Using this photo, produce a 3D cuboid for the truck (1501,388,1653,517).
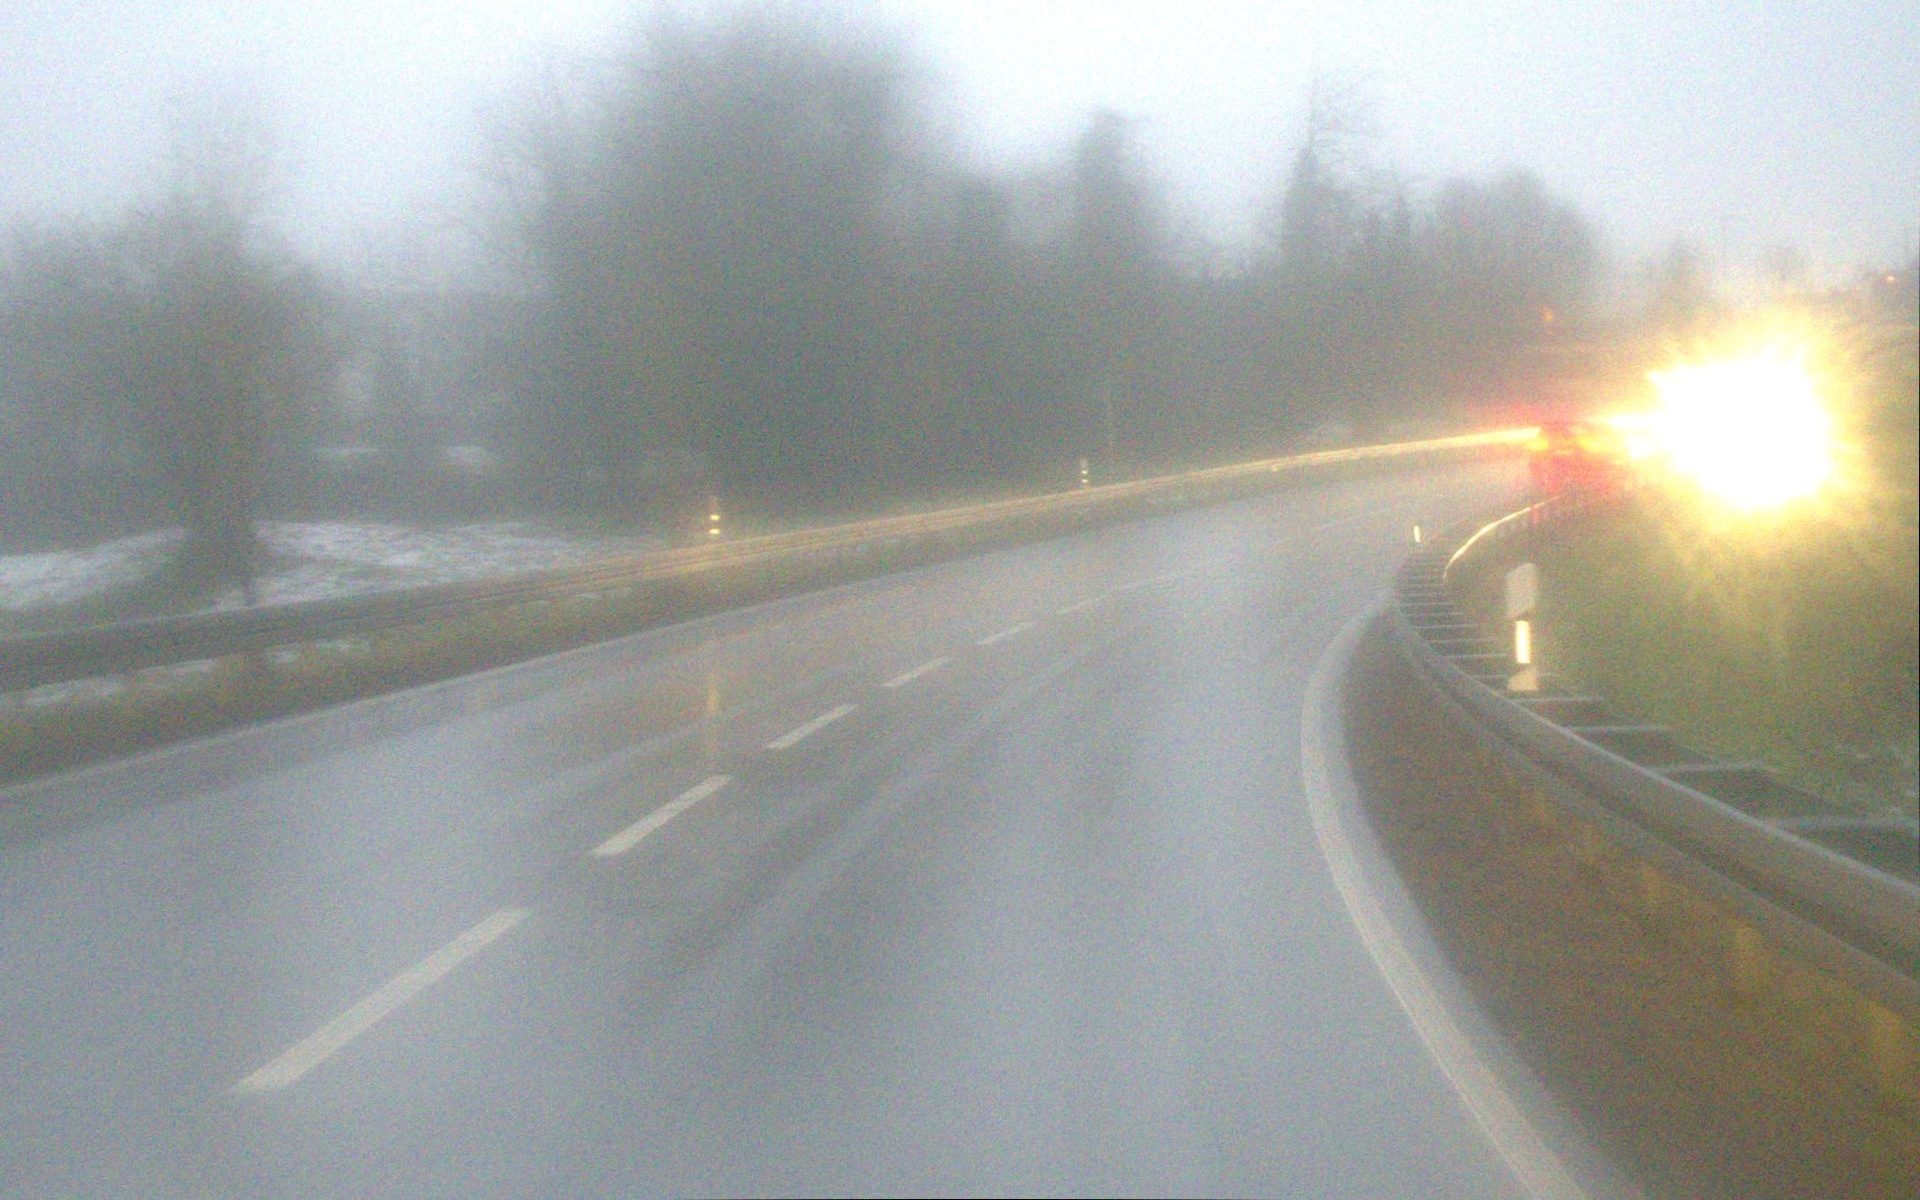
[{"bbox_3d":[14.937,-3.602,82.895,2.534,2.859,5.917,-1,4,20],"label":"truck"}]
